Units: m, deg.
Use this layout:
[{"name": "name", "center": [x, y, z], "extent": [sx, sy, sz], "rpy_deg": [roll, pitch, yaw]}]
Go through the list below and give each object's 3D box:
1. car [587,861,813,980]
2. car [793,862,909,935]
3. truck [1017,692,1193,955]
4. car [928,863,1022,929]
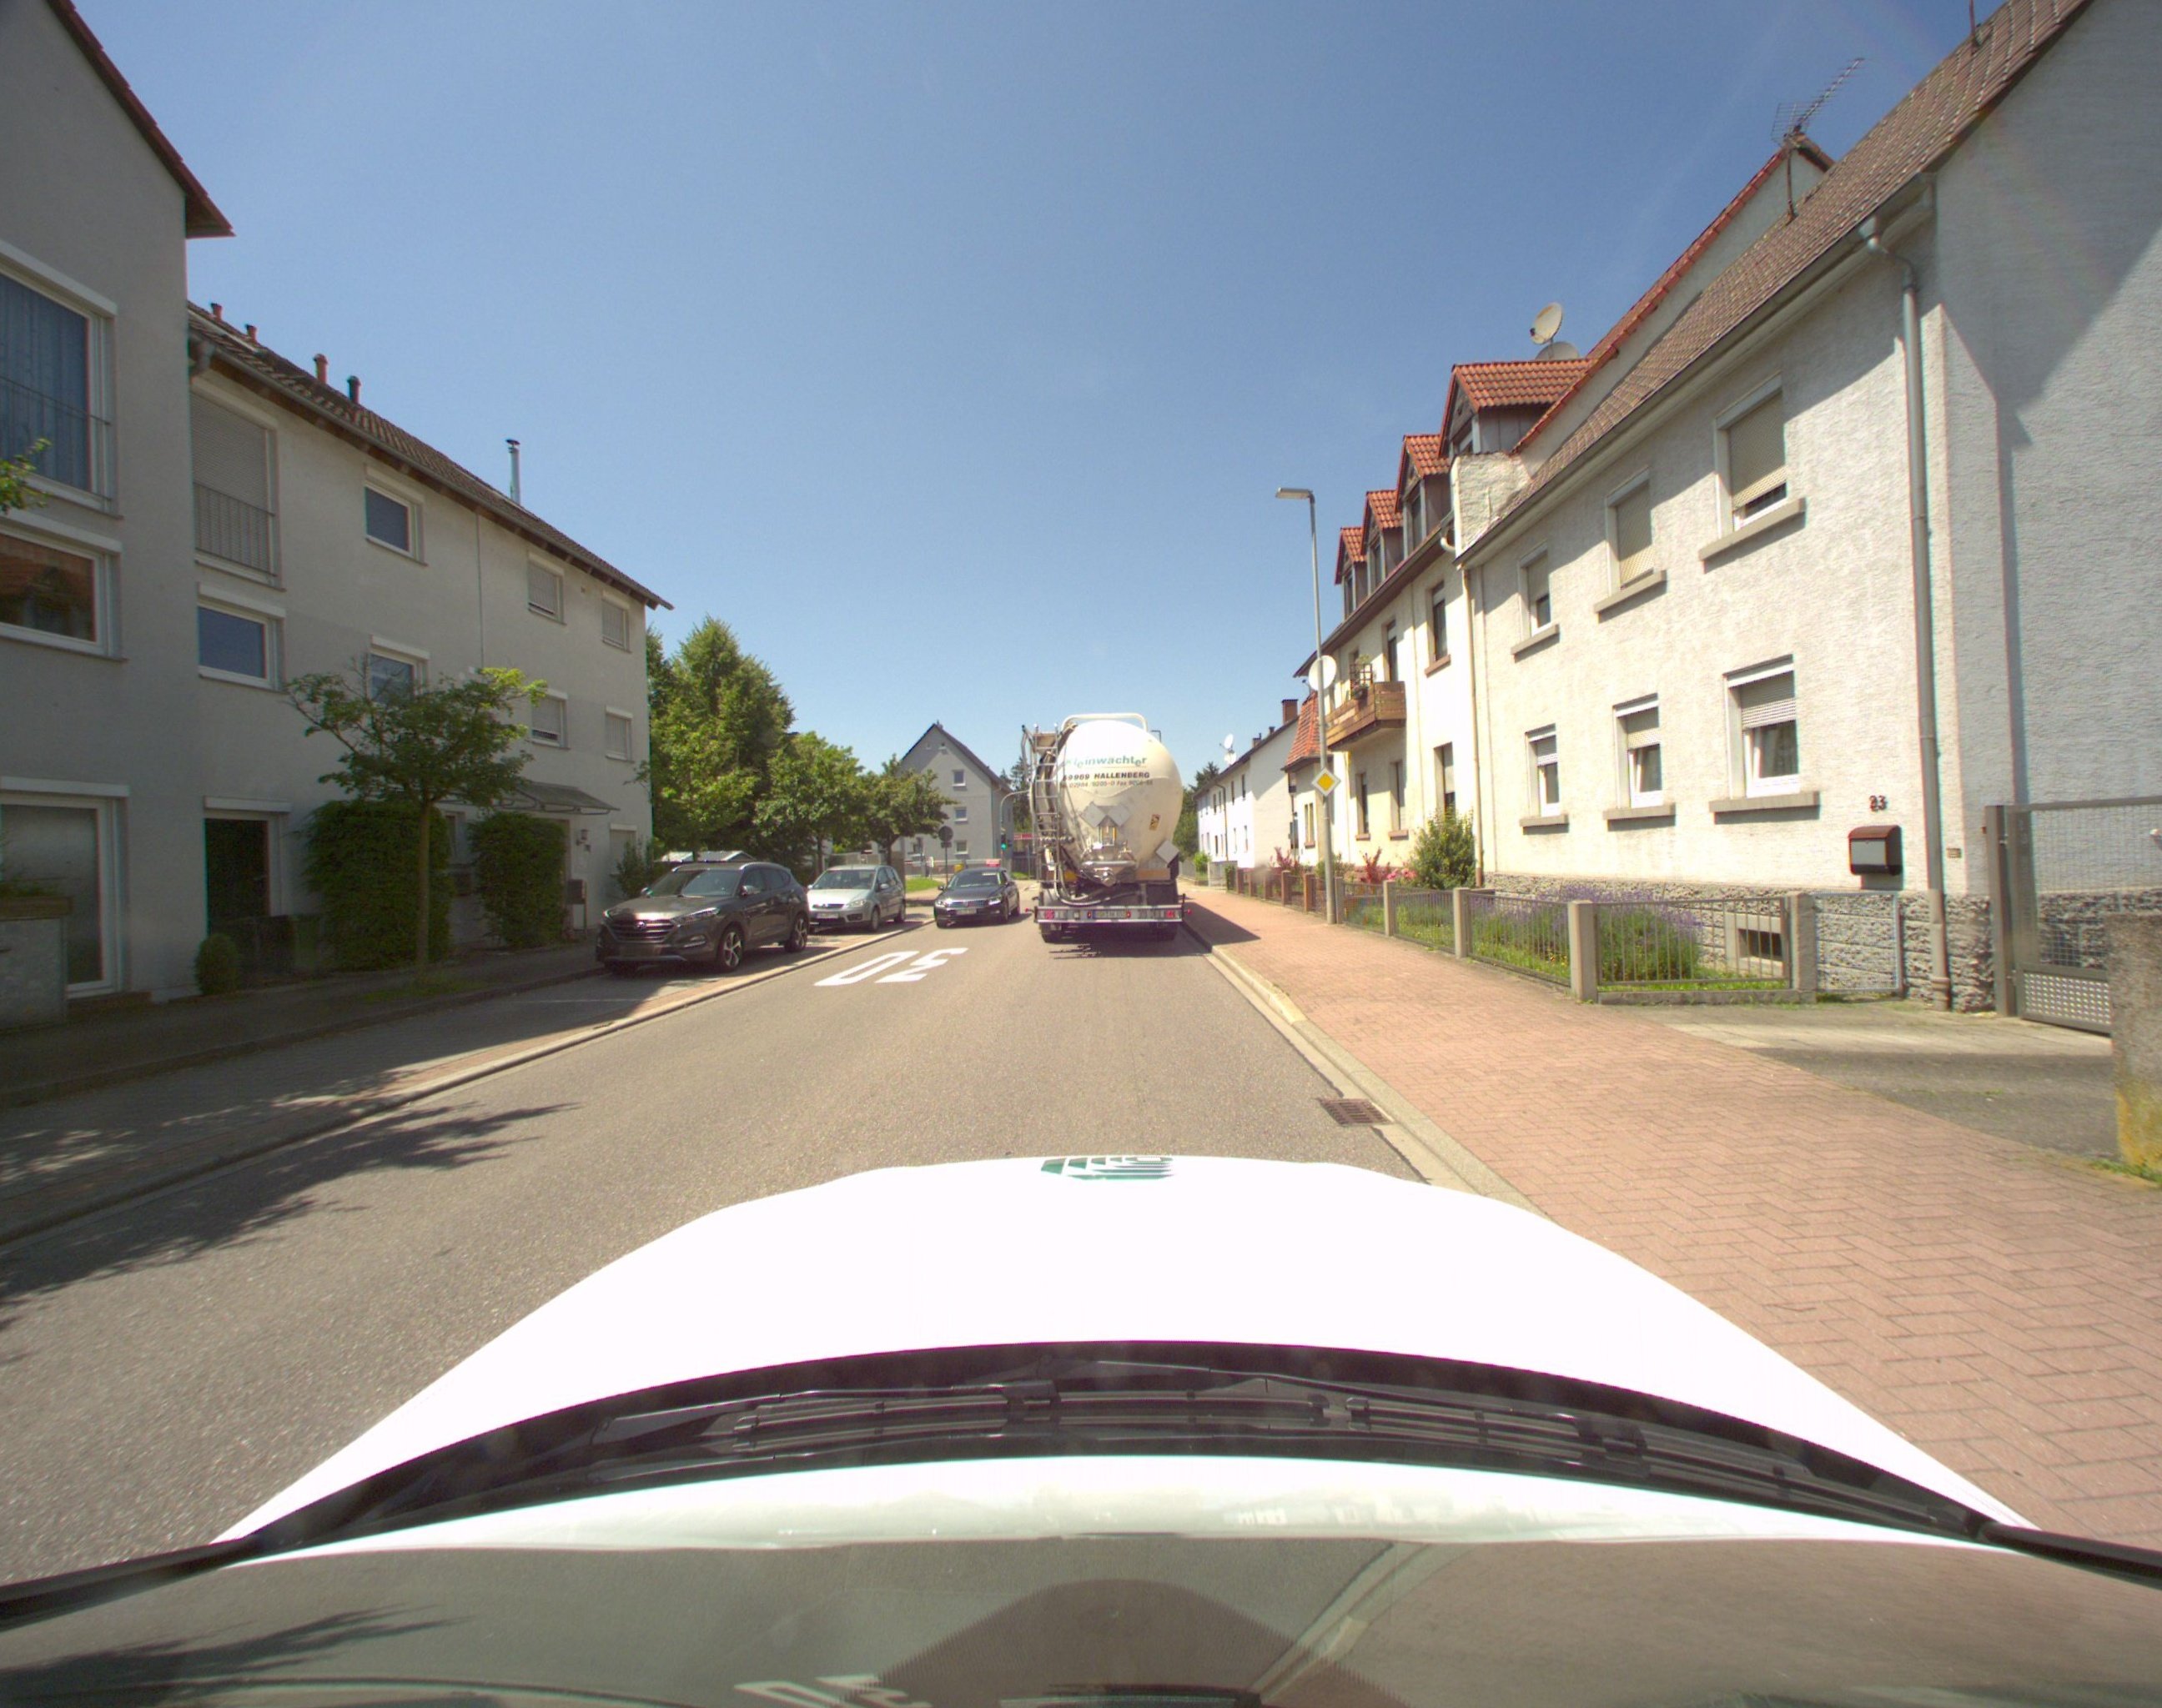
[{"name": "car", "center": [-6.006, 0.956, 13.417], "extent": [1.685, 1.620, 3.999], "rpy_deg": [-1, 0, 2]}, {"name": "car", "center": [-5.565, 1.019, 20.184], "extent": [1.691, 1.581, 3.838], "rpy_deg": [-1, 0, 1]}, {"name": "truck", "center": [0.548, -0.440, 17.352], "extent": [2.631, 4.016, 9.565], "rpy_deg": [-1, 0, 2]}, {"name": "car", "center": [-2.734, 1.055, 22.007], "extent": [1.778, 1.456, 4.259], "rpy_deg": [-4, -1, 1]}]
